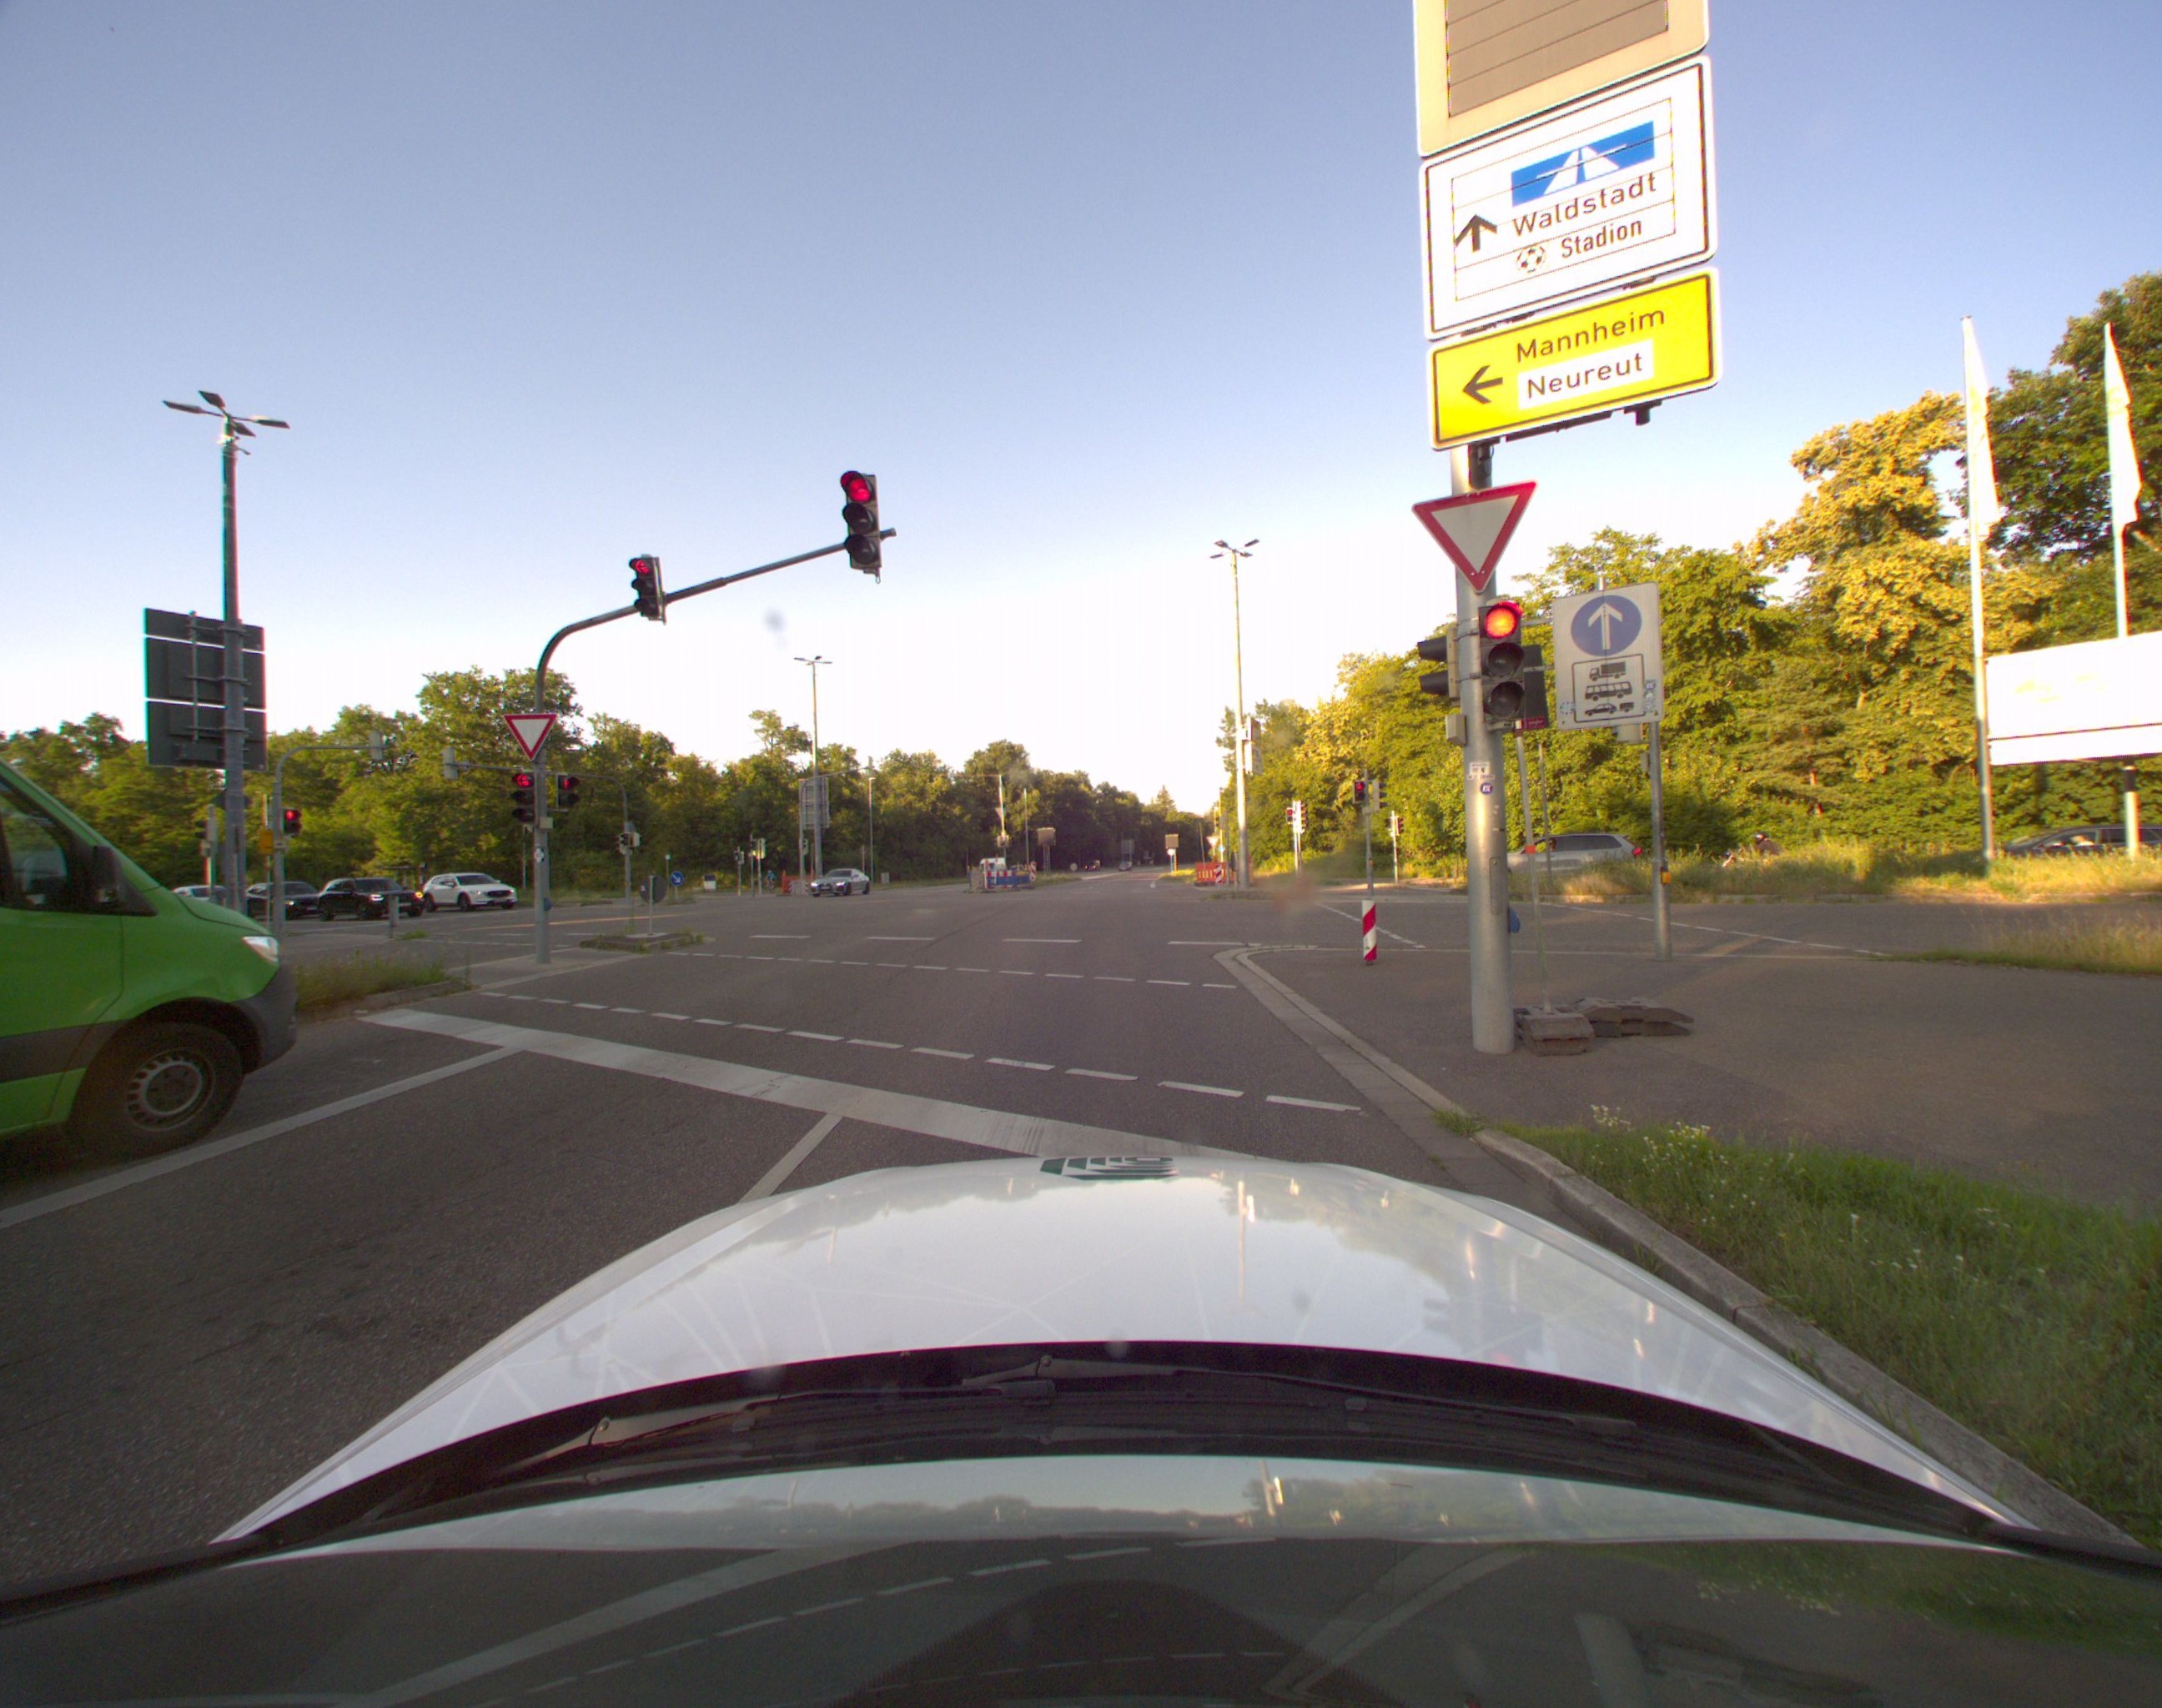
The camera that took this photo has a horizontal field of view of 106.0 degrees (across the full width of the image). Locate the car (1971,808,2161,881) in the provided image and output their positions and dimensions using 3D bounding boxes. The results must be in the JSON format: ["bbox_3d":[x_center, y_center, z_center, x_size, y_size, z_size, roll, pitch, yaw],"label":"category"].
[{"bbox_3d":[22.855,-0.216,18.023,3.827,1.489,1.781,-2,0,24],"label":"car"}]

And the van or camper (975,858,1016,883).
[{"bbox_3d":[-9.652,1.850,92.563,2.869,2.652,7.138,-2,0,8],"label":"van or camper"}]

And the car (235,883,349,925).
[{"bbox_3d":[-33.927,2.150,35.028,4.205,1.640,2.011,-2,0,23],"label":"car"}]

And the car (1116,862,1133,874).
[{"bbox_3d":[7.057,2.283,131.603,1.979,1.640,4.016,-3,0,14],"label":"car"}]

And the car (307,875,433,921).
[{"bbox_3d":[-27.555,1.694,31.553,4.206,1.640,2.011,-2,0,23],"label":"car"}]

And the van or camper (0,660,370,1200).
[{"bbox_3d":[-5.861,0.359,2.555,1.987,2.421,5.896,-2,0,1],"label":"van or camper"}]

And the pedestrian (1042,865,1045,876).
[{"bbox_3d":[-6.497,2.824,140.236,0.519,2.014,0.600,0,-1,2],"label":"pedestrian"}]

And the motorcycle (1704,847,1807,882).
[{"bbox_3d":[19.088,0.302,23.096,2.125,0.910,0.666,-2,-1,23],"label":"motorcycle"}]

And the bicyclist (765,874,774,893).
[{"bbox_3d":[-23.248,2.222,60.737,0.522,1.387,0.402,-1,-1,-40],"label":"bicyclist"}]

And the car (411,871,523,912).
[{"bbox_3d":[-26.761,1.637,35.493,4.206,1.640,2.011,-2,0,23],"label":"car"}]

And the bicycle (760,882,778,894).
[{"bbox_3d":[-23.255,2.537,60.722,1.112,0.825,0.408,-2,-1,-39],"label":"bicycle"}]

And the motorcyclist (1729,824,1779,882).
[{"bbox_3d":[19.072,-0.037,23.096,0.878,1.595,0.658,-2,-1,23],"label":"motorcyclist"}]

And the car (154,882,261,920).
[{"bbox_3d":[-41.259,2.206,38.469,4.207,1.640,2.011,-2,0,21],"label":"car"}]

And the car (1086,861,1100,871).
[{"bbox_3d":[2.261,2.190,150.254,1.981,1.640,4.012,-2,0,11],"label":"car"}]

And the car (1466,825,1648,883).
[{"bbox_3d":[15.028,0.022,26.071,4.773,1.598,2.011,-2,0,23],"label":"car"}]

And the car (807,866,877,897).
[{"bbox_3d":[-12.297,1.384,42.218,1.882,1.441,4.507,-2,0,5],"label":"car"}]
